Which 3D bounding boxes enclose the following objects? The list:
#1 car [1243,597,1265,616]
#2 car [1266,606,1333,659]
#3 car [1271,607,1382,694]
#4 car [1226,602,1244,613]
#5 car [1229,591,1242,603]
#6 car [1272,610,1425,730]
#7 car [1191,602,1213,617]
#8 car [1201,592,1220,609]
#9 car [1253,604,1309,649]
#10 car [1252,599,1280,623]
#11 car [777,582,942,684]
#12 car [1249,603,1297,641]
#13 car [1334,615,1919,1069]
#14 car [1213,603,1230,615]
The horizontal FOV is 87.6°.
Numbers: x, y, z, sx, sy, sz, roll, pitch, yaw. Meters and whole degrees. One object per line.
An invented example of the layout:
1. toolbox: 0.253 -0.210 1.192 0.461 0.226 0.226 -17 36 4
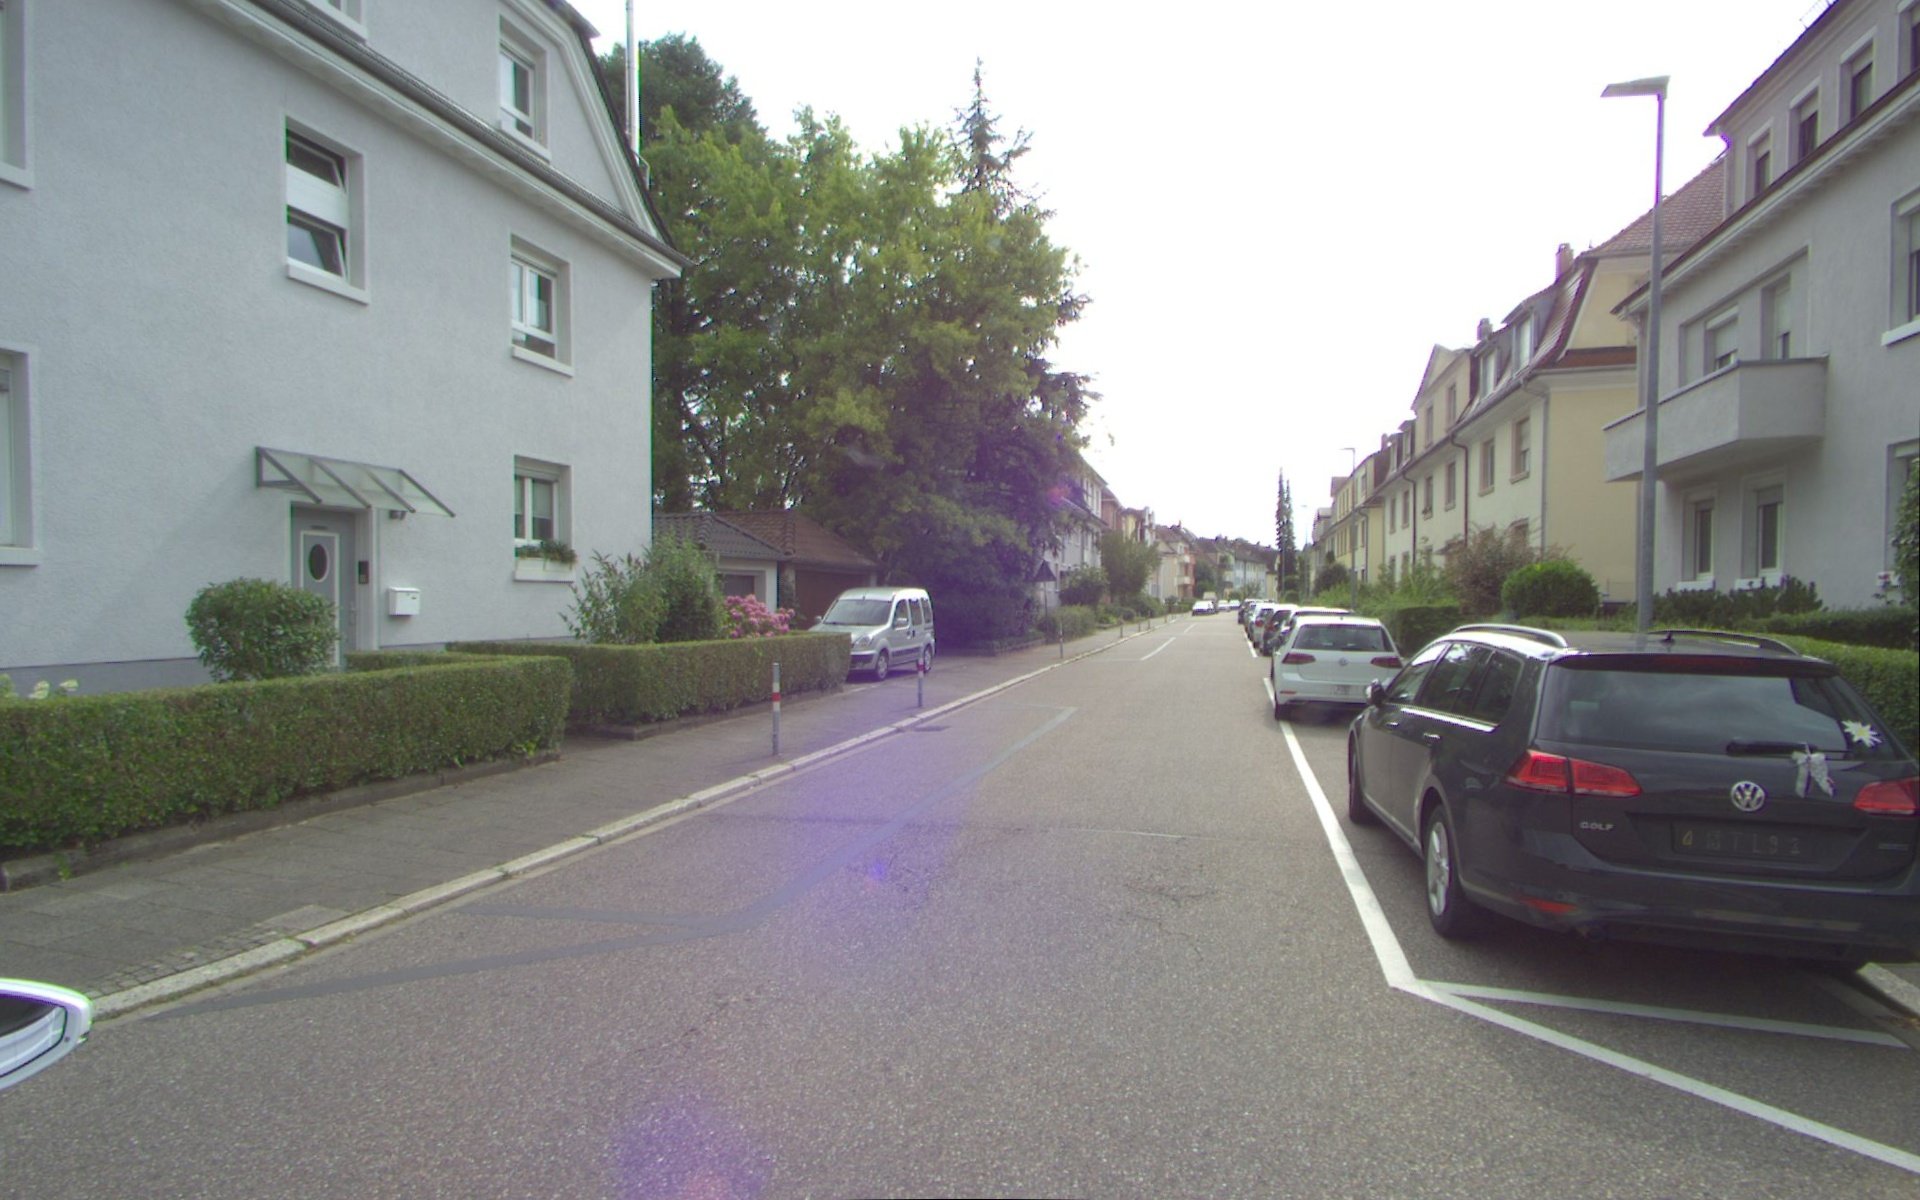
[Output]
1. car: 25.793 0.528 87.904 1.826 1.599 4.169 0 0 16
2. car: 10.463 0.942 31.092 1.826 1.491 4.168 0 0 17
3. car: 7.188 0.910 19.981 1.826 1.491 4.168 0 0 17
4. car: 41.034 1.074 149.292 1.967 1.556 3.987 -1 0 24
5. car: 48.939 -0.577 177.998 1.965 2.152 3.992 0 0 19
6. car: 5.687 0.920 15.118 1.826 1.491 4.168 0 0 17
7. car: 26.307 1.030 108.893 1.965 1.662 3.992 0 0 19
8. car: 30.221 0.088 120.947 1.964 2.040 3.993 0 0 18
9. car: 11.611 0.906 36.335 1.826 1.491 4.168 0 0 17
10. car: 21.282 0.767 69.736 1.826 1.599 4.168 0 0 17
11. car: -1.923 0.596 20.442 1.964 1.862 3.993 0 0 17
12. car: 13.110 0.887 42.082 1.826 1.491 4.168 0 0 17
13. car: 3.366 0.865 5.554 1.825 1.491 4.171 0 0 12
14. car: 35.688 1.209 136.487 1.965 1.662 3.992 0 0 19
